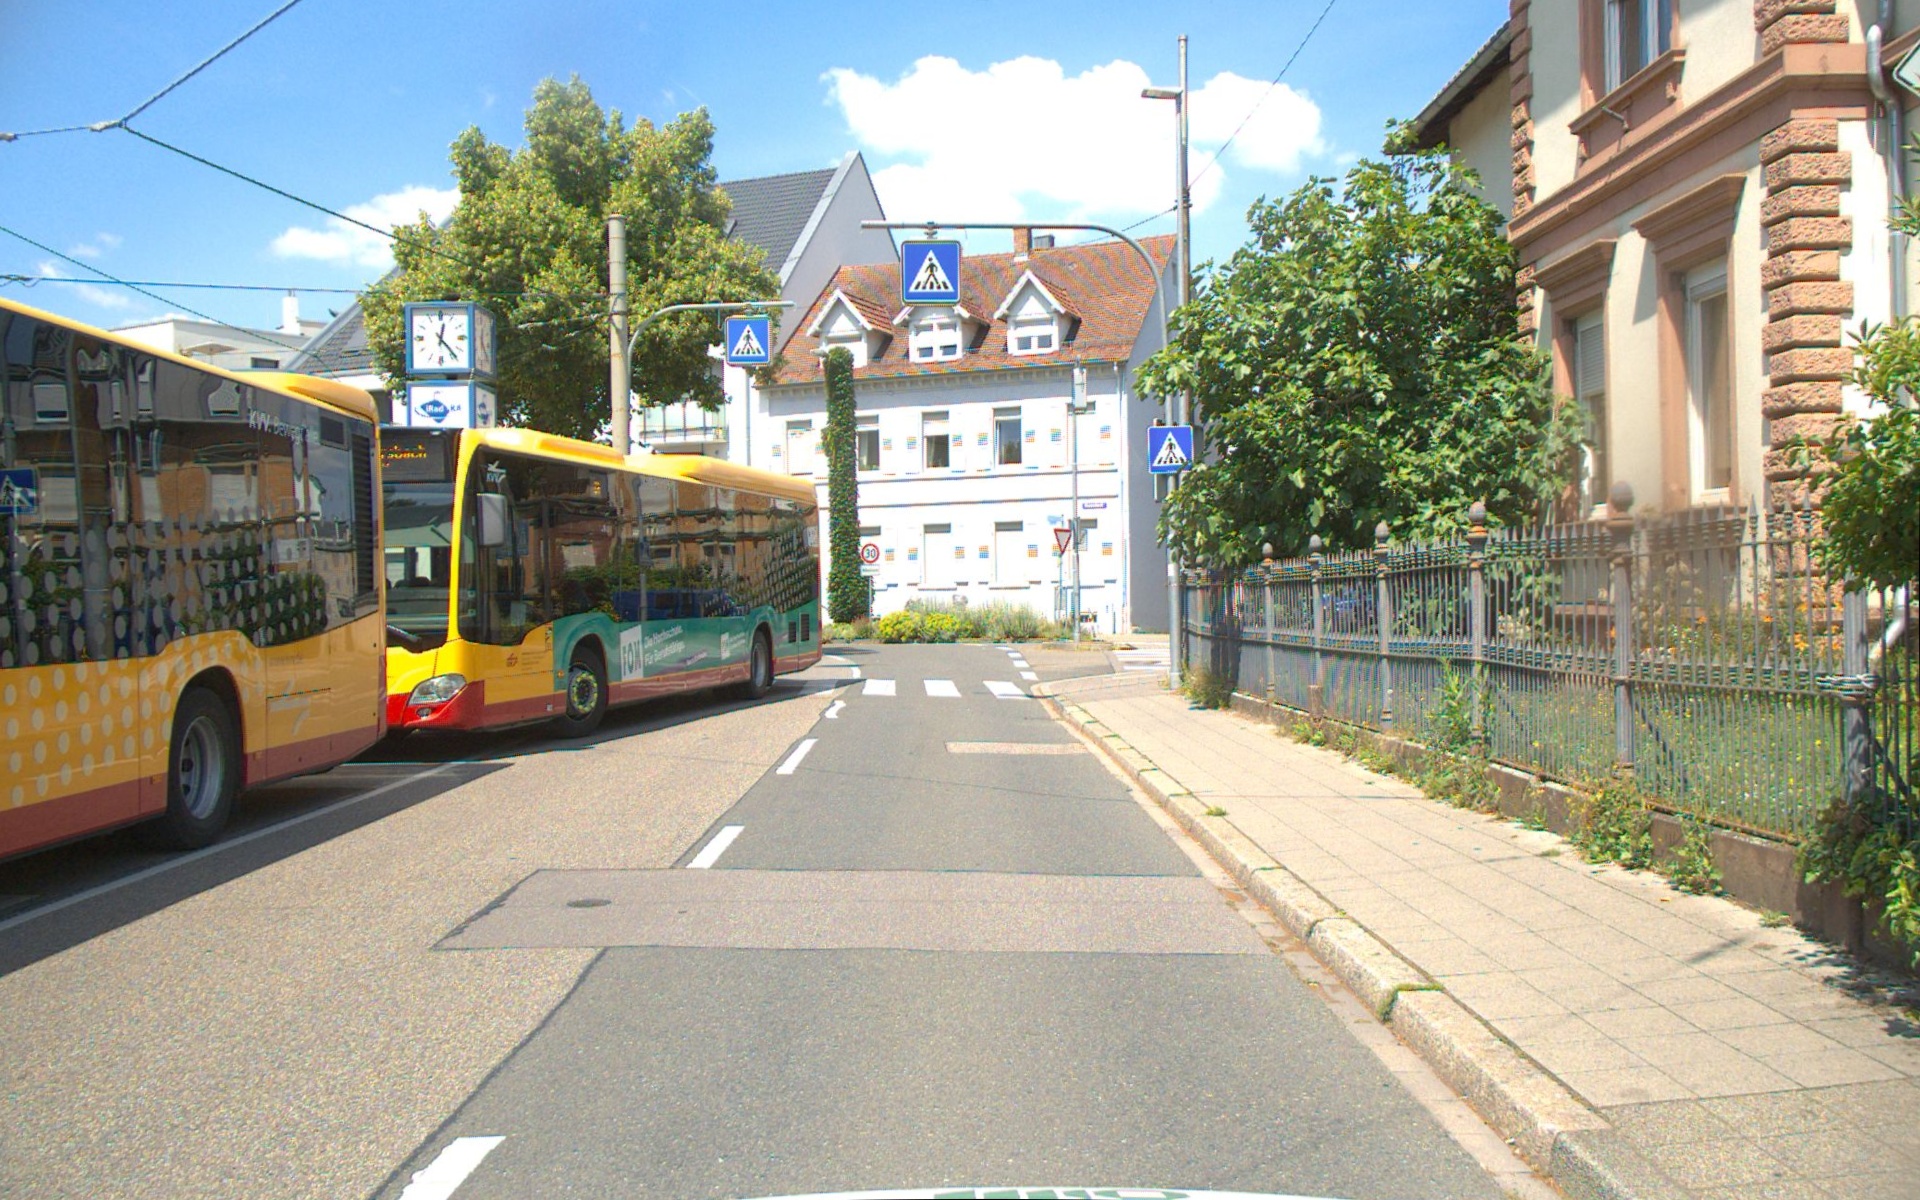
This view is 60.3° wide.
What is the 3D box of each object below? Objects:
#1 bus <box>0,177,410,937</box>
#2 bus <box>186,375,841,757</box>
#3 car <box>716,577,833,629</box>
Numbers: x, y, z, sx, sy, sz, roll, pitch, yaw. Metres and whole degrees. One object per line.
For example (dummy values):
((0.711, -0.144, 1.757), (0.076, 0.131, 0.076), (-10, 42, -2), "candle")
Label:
((-5.594, -0.206, 6.770), (2.848, 3.305, 12.114), (1, -1, -1), "bus")
((-4.371, -0.370, 20.427), (2.720, 3.264, 12.317), (1, 1, 10), "bus")
((-6.030, 0.091, 53.675), (3.539, 1.614, 1.581), (0, -2, 31), "car")
